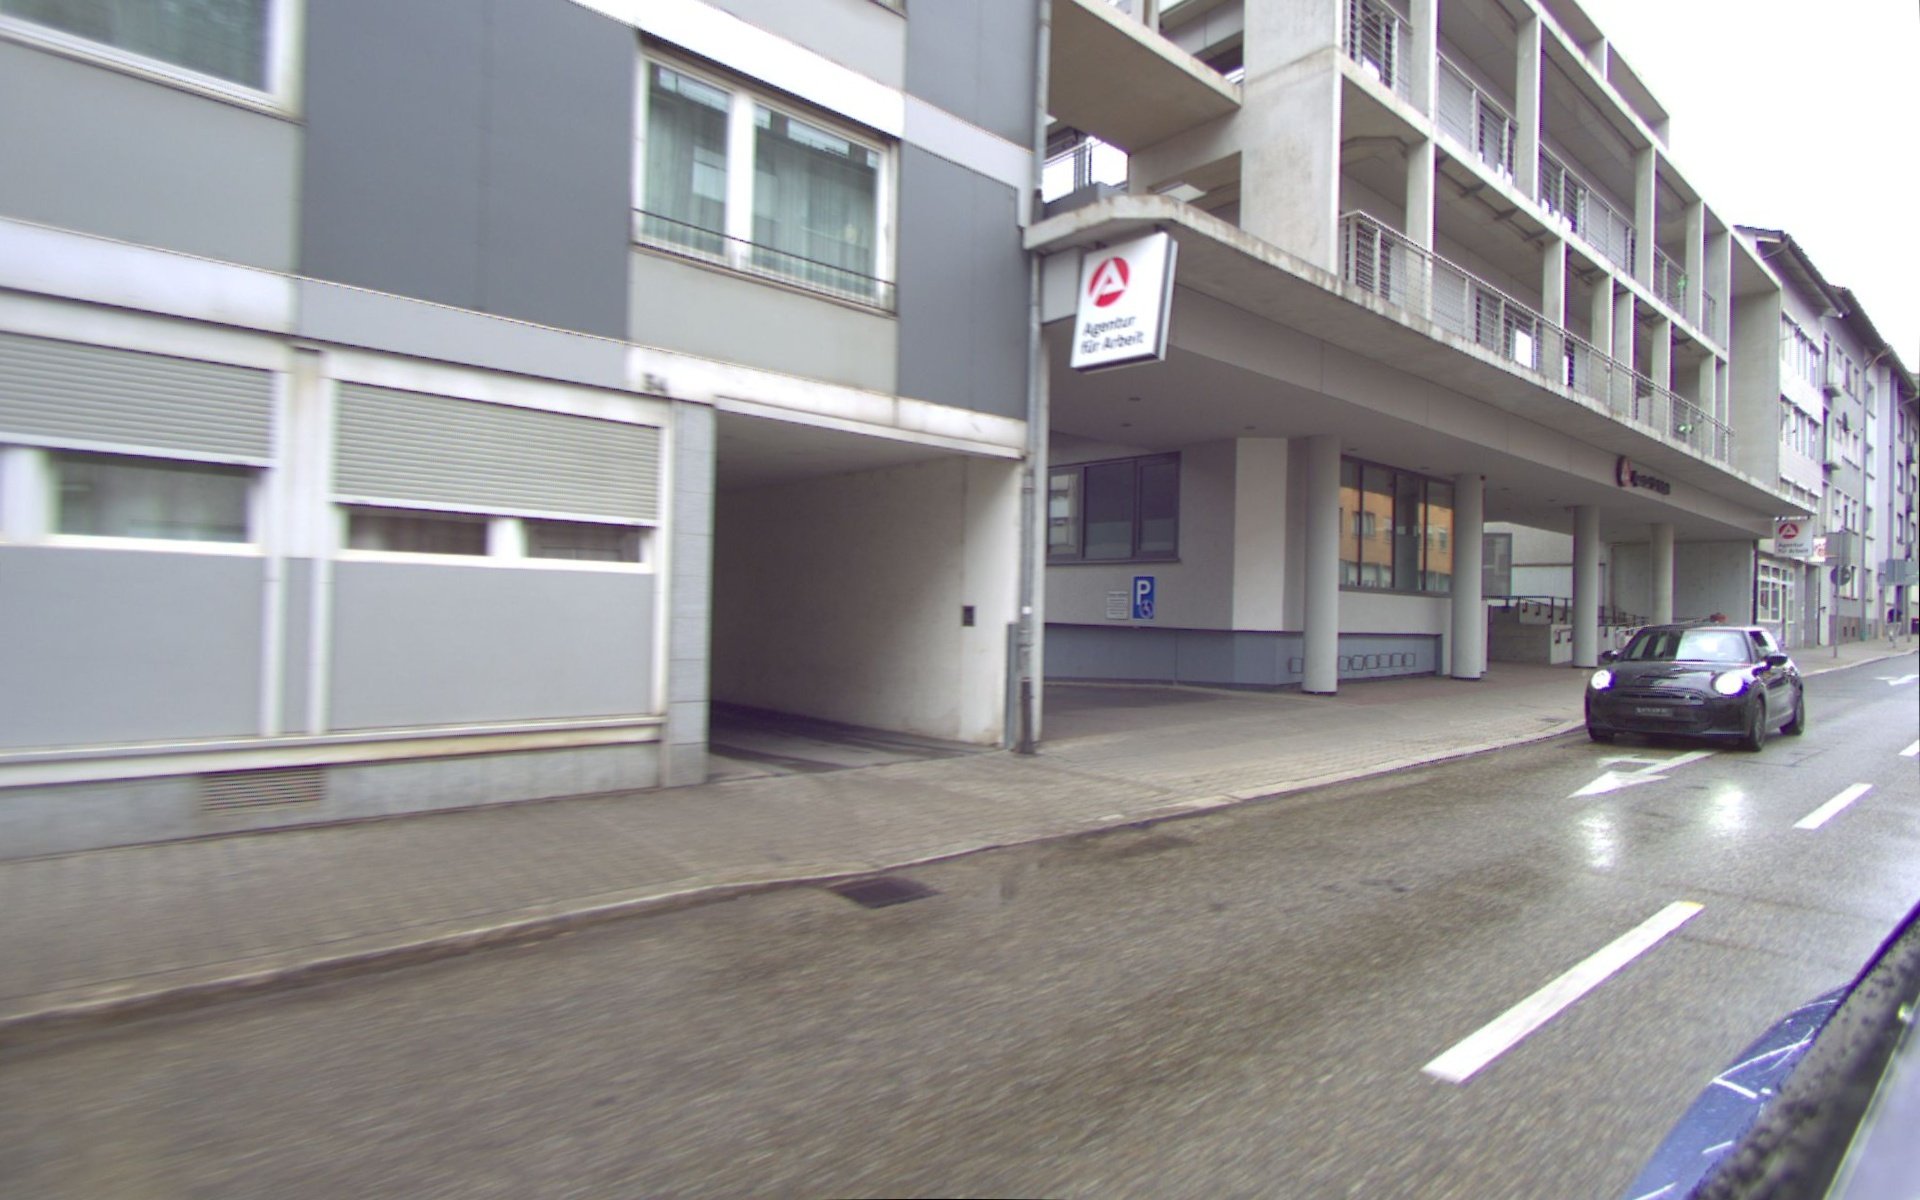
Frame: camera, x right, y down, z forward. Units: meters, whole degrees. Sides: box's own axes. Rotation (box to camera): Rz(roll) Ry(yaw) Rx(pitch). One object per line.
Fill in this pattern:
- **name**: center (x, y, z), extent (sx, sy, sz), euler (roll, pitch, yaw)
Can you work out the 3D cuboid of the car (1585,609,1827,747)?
- **car**: center (9.456, 0.858, 12.709), extent (4.002, 1.439, 1.662), euler (0, -1, -42)
